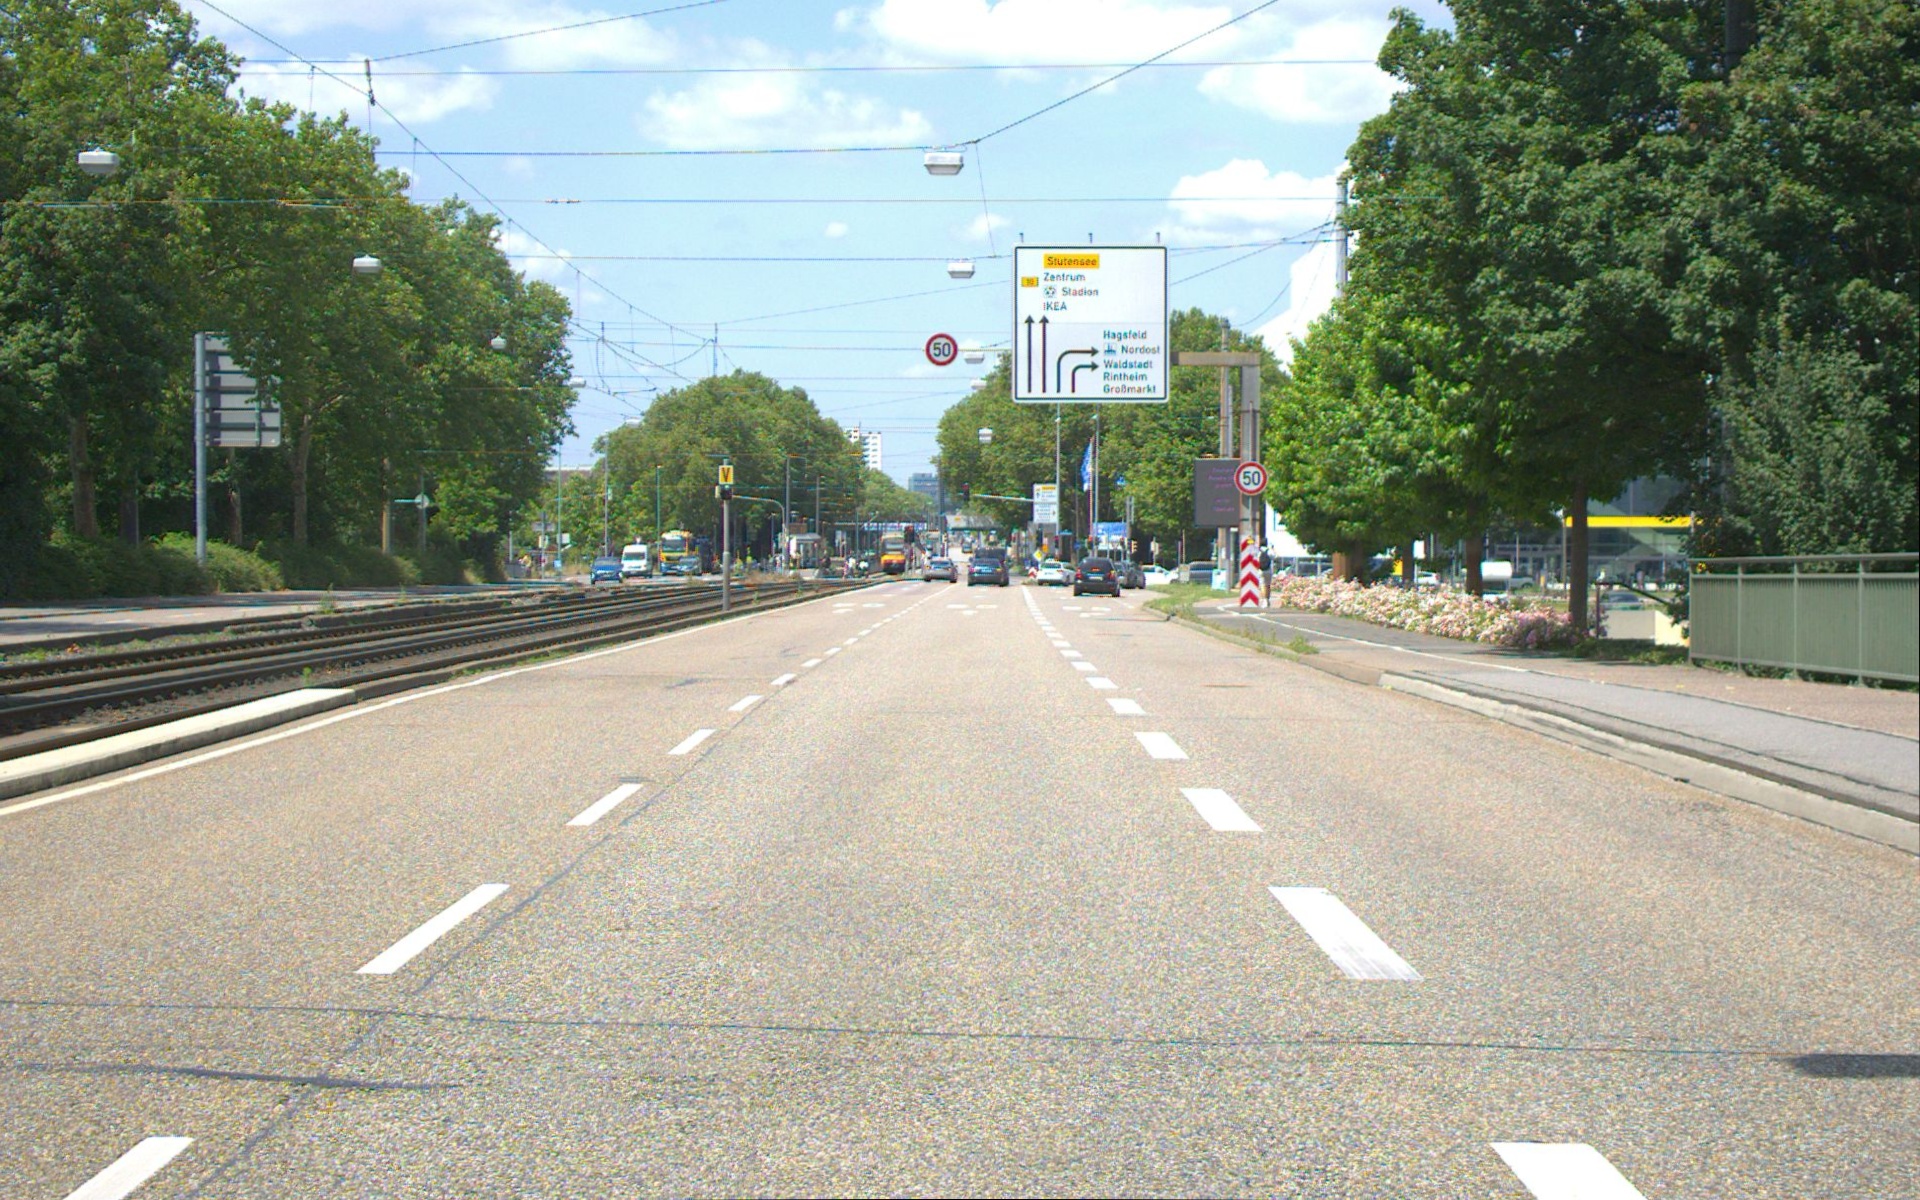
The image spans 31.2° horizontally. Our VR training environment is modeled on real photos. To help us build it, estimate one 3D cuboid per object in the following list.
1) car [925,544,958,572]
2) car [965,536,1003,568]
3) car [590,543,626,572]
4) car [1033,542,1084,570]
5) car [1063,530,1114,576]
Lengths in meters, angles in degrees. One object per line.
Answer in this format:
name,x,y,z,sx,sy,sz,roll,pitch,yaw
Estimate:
car,-1.104,-2.527,205.317,1.842,1.544,3.777,2,1,-2
car,1.204,-2.453,174.033,1.876,1.534,3.777,2,1,0
car,-19.920,-2.429,194.603,1.644,1.545,4.217,2,1,-1
car,5.887,-2.617,205.596,1.687,1.544,3.979,3,1,23
car,5.230,-1.912,140.370,1.899,1.799,3.976,2,1,0
